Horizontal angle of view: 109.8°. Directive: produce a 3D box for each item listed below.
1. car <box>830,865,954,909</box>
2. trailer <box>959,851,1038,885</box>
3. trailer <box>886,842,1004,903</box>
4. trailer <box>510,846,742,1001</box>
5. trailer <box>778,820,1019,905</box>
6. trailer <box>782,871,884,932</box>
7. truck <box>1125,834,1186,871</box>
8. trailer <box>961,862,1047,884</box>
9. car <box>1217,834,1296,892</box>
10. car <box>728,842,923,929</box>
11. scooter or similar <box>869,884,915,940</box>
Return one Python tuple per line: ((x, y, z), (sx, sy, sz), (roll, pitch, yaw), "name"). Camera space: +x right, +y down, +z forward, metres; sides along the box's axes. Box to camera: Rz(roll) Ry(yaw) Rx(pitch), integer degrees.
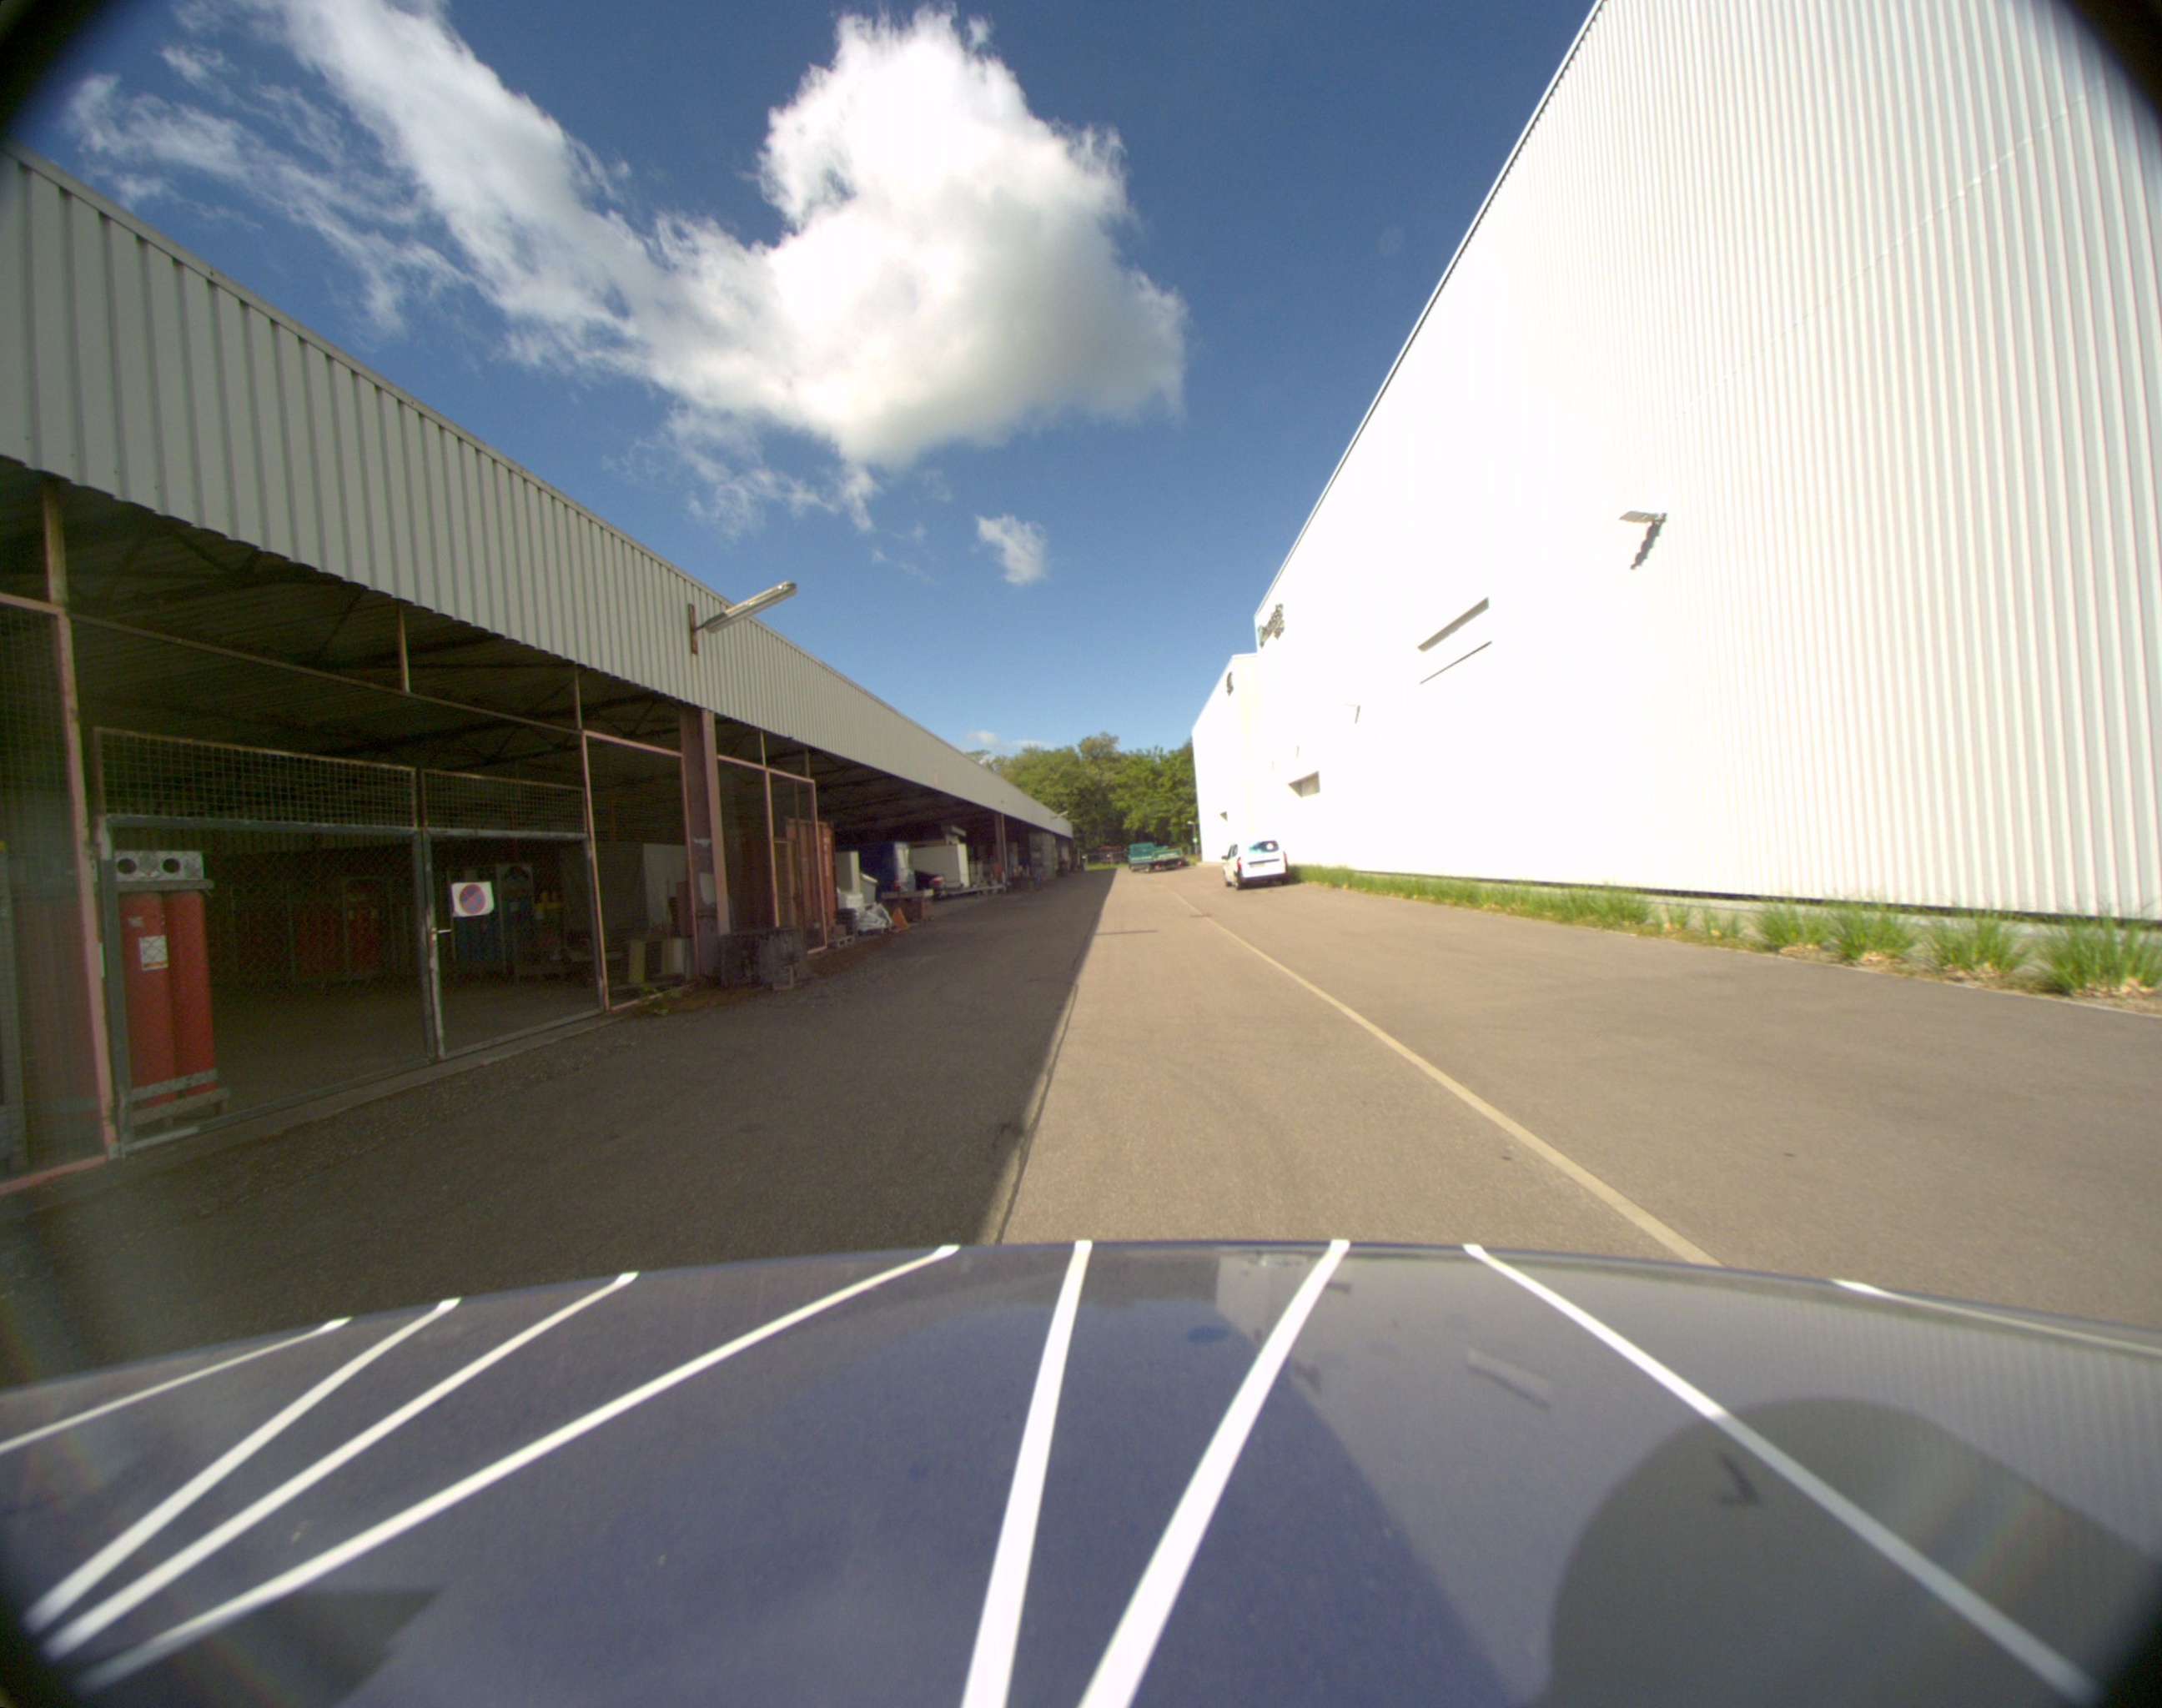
((-7.356, 1.273, 29.926), (4.355, 1.425, 1.865), (-3, 1, 0), "car")
((-5.479, 0.894, 50.741), (4.827, 1.985, 2.047), (-3, 1, 6), "trailer")
((-5.743, 0.762, 32.439), (4.552, 2.321, 1.689), (-3, 0, 4), "trailer")
((-7.243, 0.974, 12.543), (1.581, 2.131, 3.521), (-3, 1, 0), "trailer")
((-8.274, 0.386, 35.089), (10.316, 3.276, 2.676), (-3, 0, 4), "trailer")
((-6.825, 1.287, 21.026), (2.098, 1.454, 1.642), (-4, 1, 6), "trailer")
((6.292, -0.060, 65.959), (2.589, 2.701, 9.689), (-7, 0, -9), "truck")
((-5.430, 1.340, 54.082), (5.748, 1.126, 2.009), (-4, 0, 2), "trailer")
((6.380, 0.305, 28.141), (1.933, 1.779, 4.598), (-6, 0, 3), "car")
((-7.833, 0.941, 23.679), (5.228, 2.284, 2.084), (-4, 1, 2), "car")
((-4.380, 1.327, 17.722), (0.521, 1.128, 1.592), (-4, 1, 3), "scooter or similar")
